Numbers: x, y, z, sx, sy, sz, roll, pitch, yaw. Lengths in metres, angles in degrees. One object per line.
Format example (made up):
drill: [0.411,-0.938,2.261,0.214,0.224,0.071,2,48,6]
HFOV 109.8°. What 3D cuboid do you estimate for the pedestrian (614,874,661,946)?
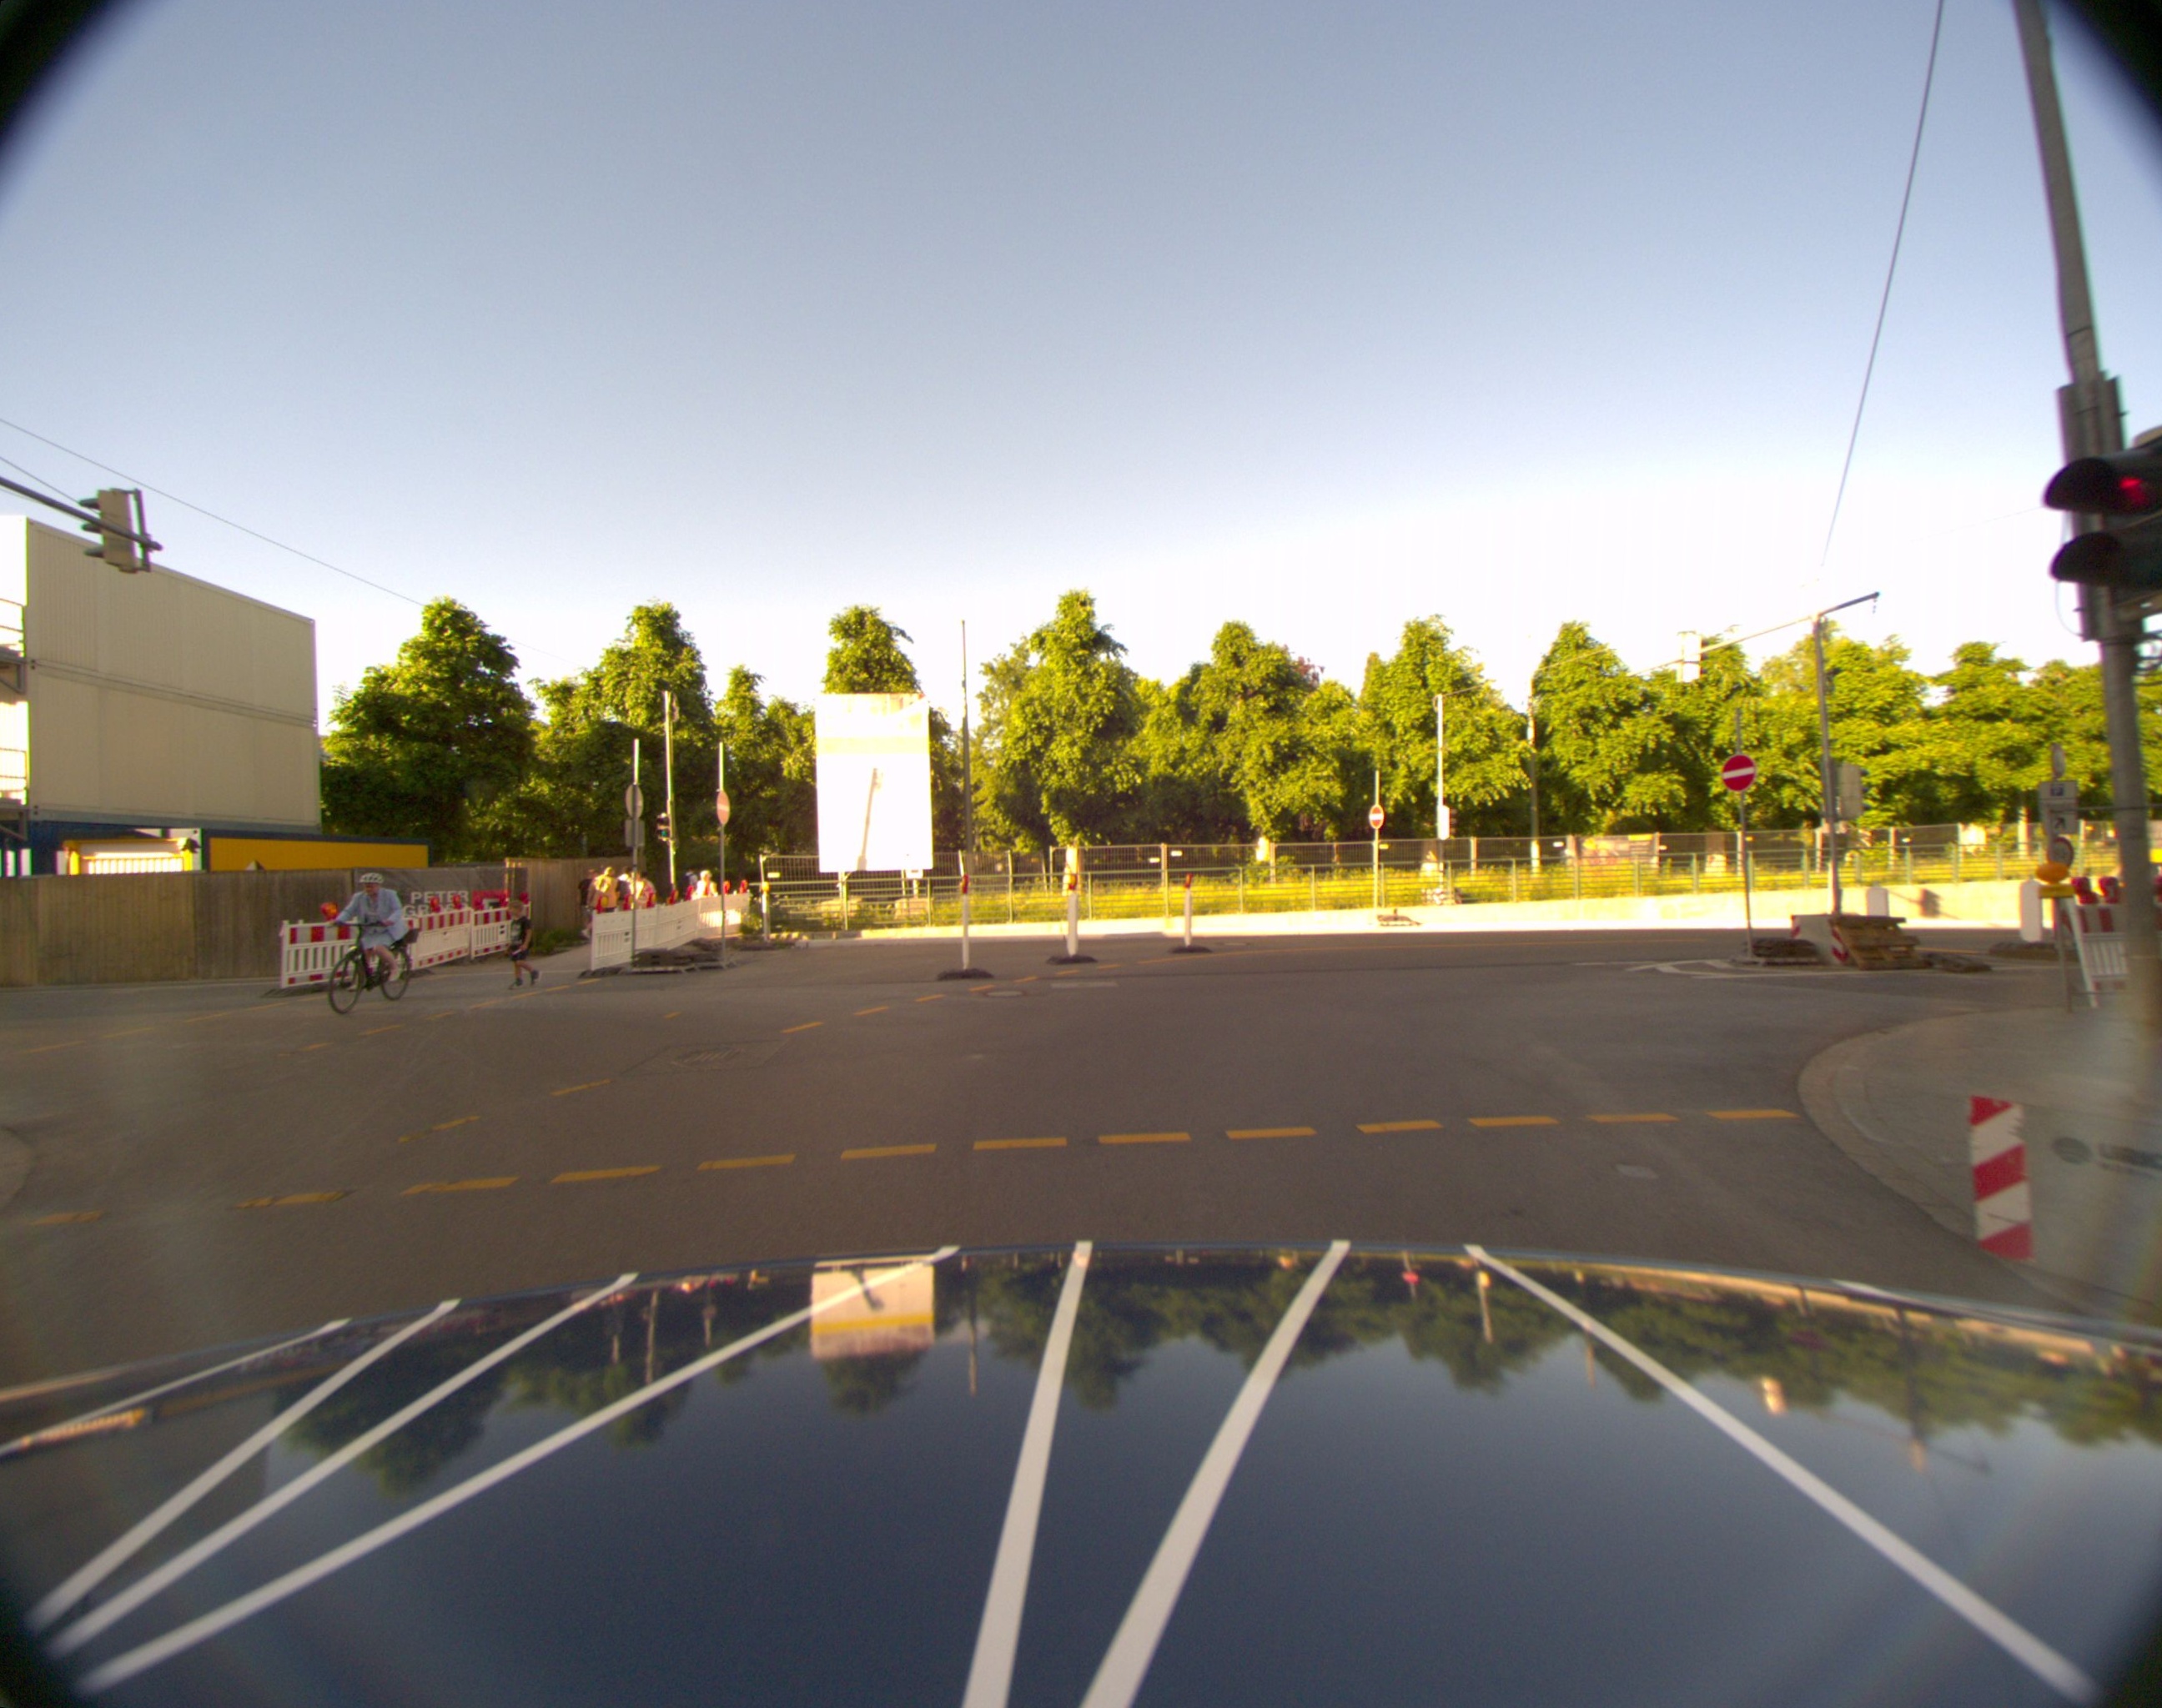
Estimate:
pedestrian: [-10.190,1.273,17.493,0.643,1.595,0.739,-1,1,-4]

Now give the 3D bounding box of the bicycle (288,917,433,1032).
bicycle: [-9.214,1.482,9.823,0.477,1.194,1.996,-1,-1,-16]

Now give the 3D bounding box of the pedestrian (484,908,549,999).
pedestrian: [-8.362,1.456,11.276,0.493,1.291,0.620,-1,-3,-5]

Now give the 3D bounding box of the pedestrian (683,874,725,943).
pedestrian: [-8.994,1.283,18.150,0.666,1.557,0.744,-1,1,-8]

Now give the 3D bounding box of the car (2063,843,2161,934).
car: [34.358,1.081,23.546,6.990,2.608,2.116,1,-1,-14]

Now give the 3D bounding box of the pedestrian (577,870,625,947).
pedestrian: [-11.120,1.244,17.617,0.621,1.706,0.739,-1,1,-4]

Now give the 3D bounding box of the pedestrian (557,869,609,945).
pedestrian: [-11.949,1.263,18.247,0.723,1.761,0.739,-1,1,-4]

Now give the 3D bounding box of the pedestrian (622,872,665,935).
pedestrian: [-11.650,1.297,20.251,0.665,1.609,0.770,-1,1,-4]

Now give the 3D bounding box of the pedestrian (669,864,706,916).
pedestrian: [-11.406,1.024,22.057,0.665,1.454,0.770,-1,1,-4]

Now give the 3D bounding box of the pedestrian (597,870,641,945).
pedestrian: [-11.274,1.284,18.556,0.621,1.761,0.739,-1,1,-4]

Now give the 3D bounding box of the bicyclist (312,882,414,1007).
bicyclist: [-9.223,1.132,9.791,0.686,1.507,0.703,-1,-1,-15]
